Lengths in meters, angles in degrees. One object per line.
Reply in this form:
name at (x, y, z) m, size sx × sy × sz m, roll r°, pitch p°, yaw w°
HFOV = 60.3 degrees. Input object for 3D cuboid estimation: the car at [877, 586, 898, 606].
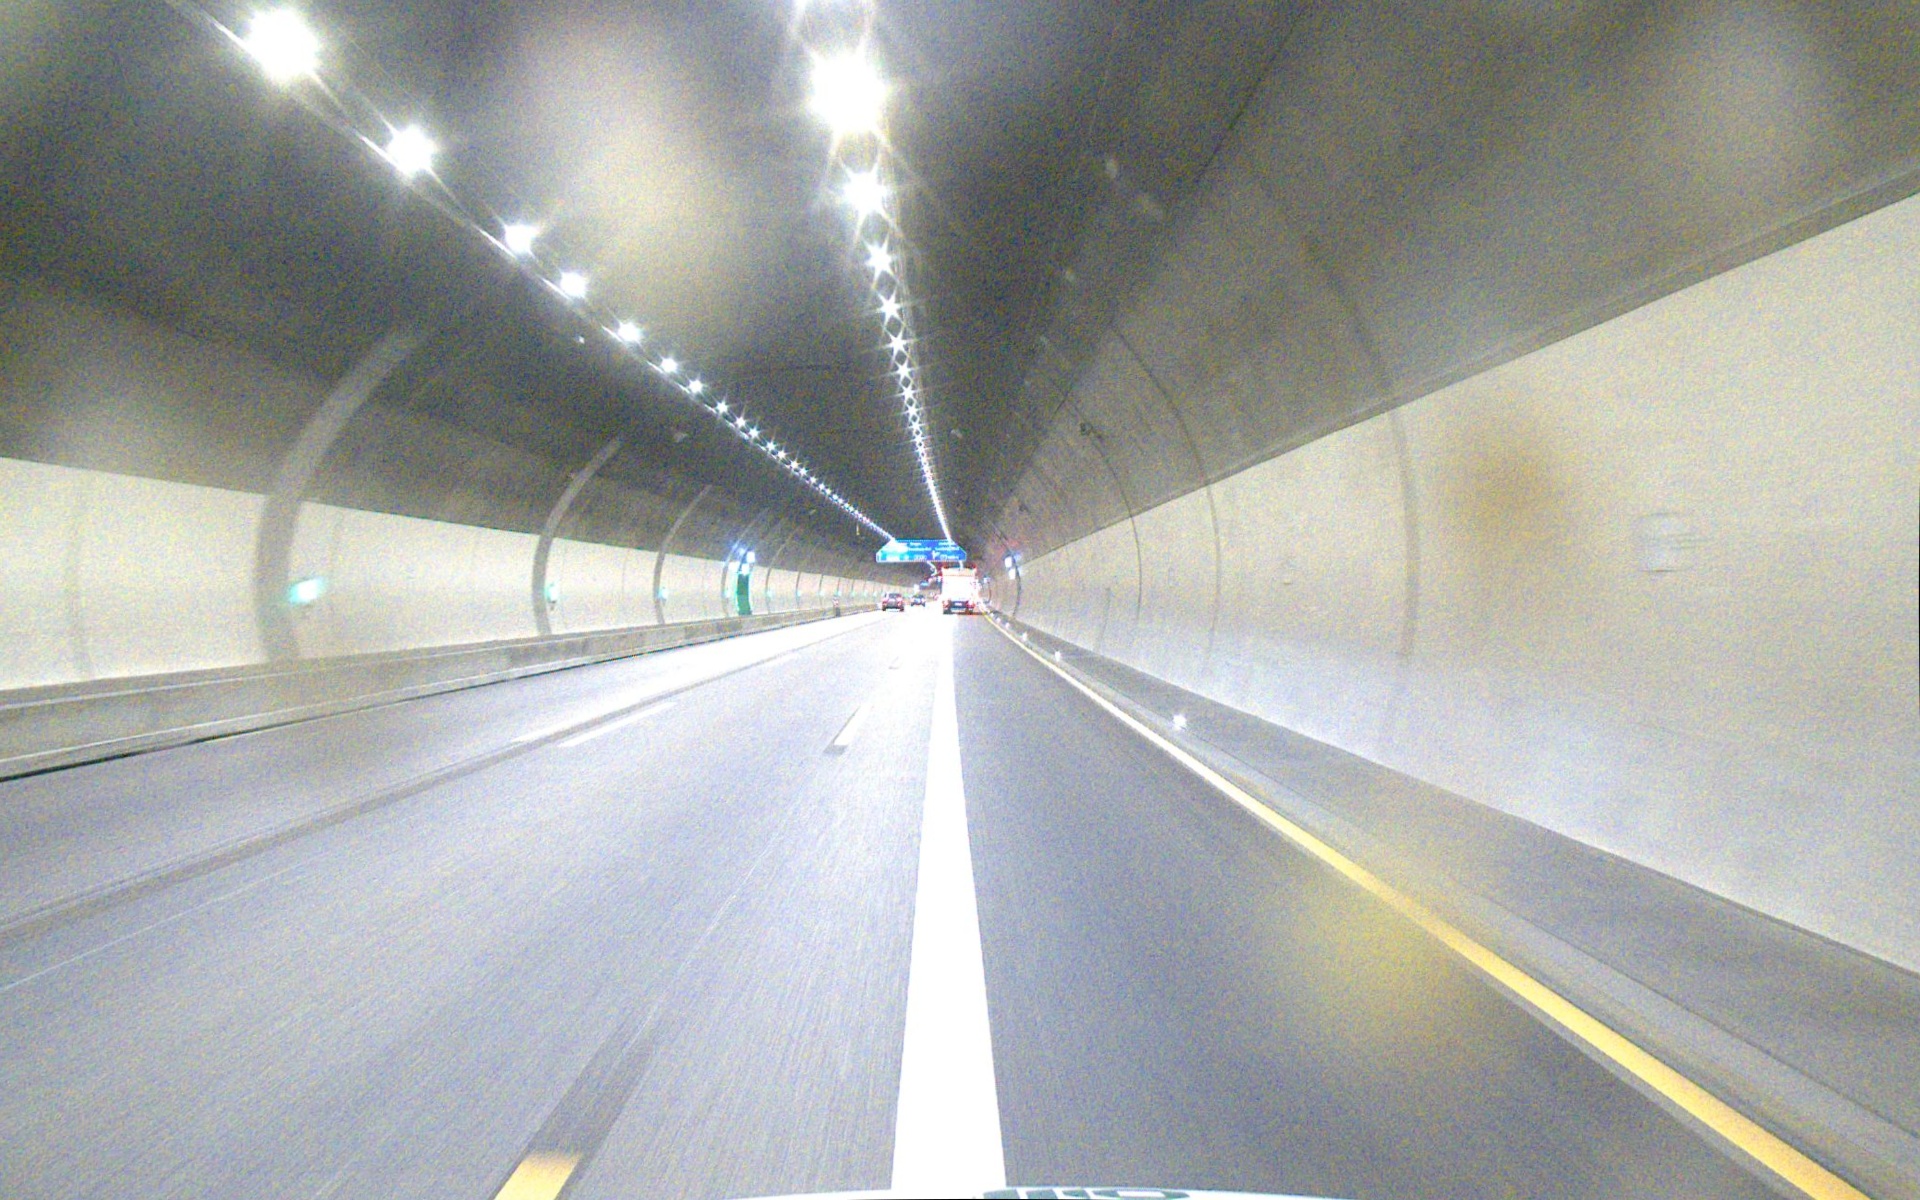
car at (-6.179, -0.362, 141.937) m, size 1.776 × 1.646 × 3.999 m, roll 0°, pitch 1°, yaw -2°

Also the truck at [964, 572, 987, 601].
truck at (2.307, -2.034, 249.695) m, size 2.863 × 4.118 × 14.026 m, roll -2°, pitch 1°, yaw -1°

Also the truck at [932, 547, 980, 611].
truck at (-0.422, -1.644, 133.837) m, size 3.212 × 4.731 × 17.280 m, roll -2°, pitch 1°, yaw -2°

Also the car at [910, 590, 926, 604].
car at (-5.085, -0.401, 197.661) m, size 1.776 × 1.546 × 3.998 m, roll 0°, pitch 2°, yaw -3°
